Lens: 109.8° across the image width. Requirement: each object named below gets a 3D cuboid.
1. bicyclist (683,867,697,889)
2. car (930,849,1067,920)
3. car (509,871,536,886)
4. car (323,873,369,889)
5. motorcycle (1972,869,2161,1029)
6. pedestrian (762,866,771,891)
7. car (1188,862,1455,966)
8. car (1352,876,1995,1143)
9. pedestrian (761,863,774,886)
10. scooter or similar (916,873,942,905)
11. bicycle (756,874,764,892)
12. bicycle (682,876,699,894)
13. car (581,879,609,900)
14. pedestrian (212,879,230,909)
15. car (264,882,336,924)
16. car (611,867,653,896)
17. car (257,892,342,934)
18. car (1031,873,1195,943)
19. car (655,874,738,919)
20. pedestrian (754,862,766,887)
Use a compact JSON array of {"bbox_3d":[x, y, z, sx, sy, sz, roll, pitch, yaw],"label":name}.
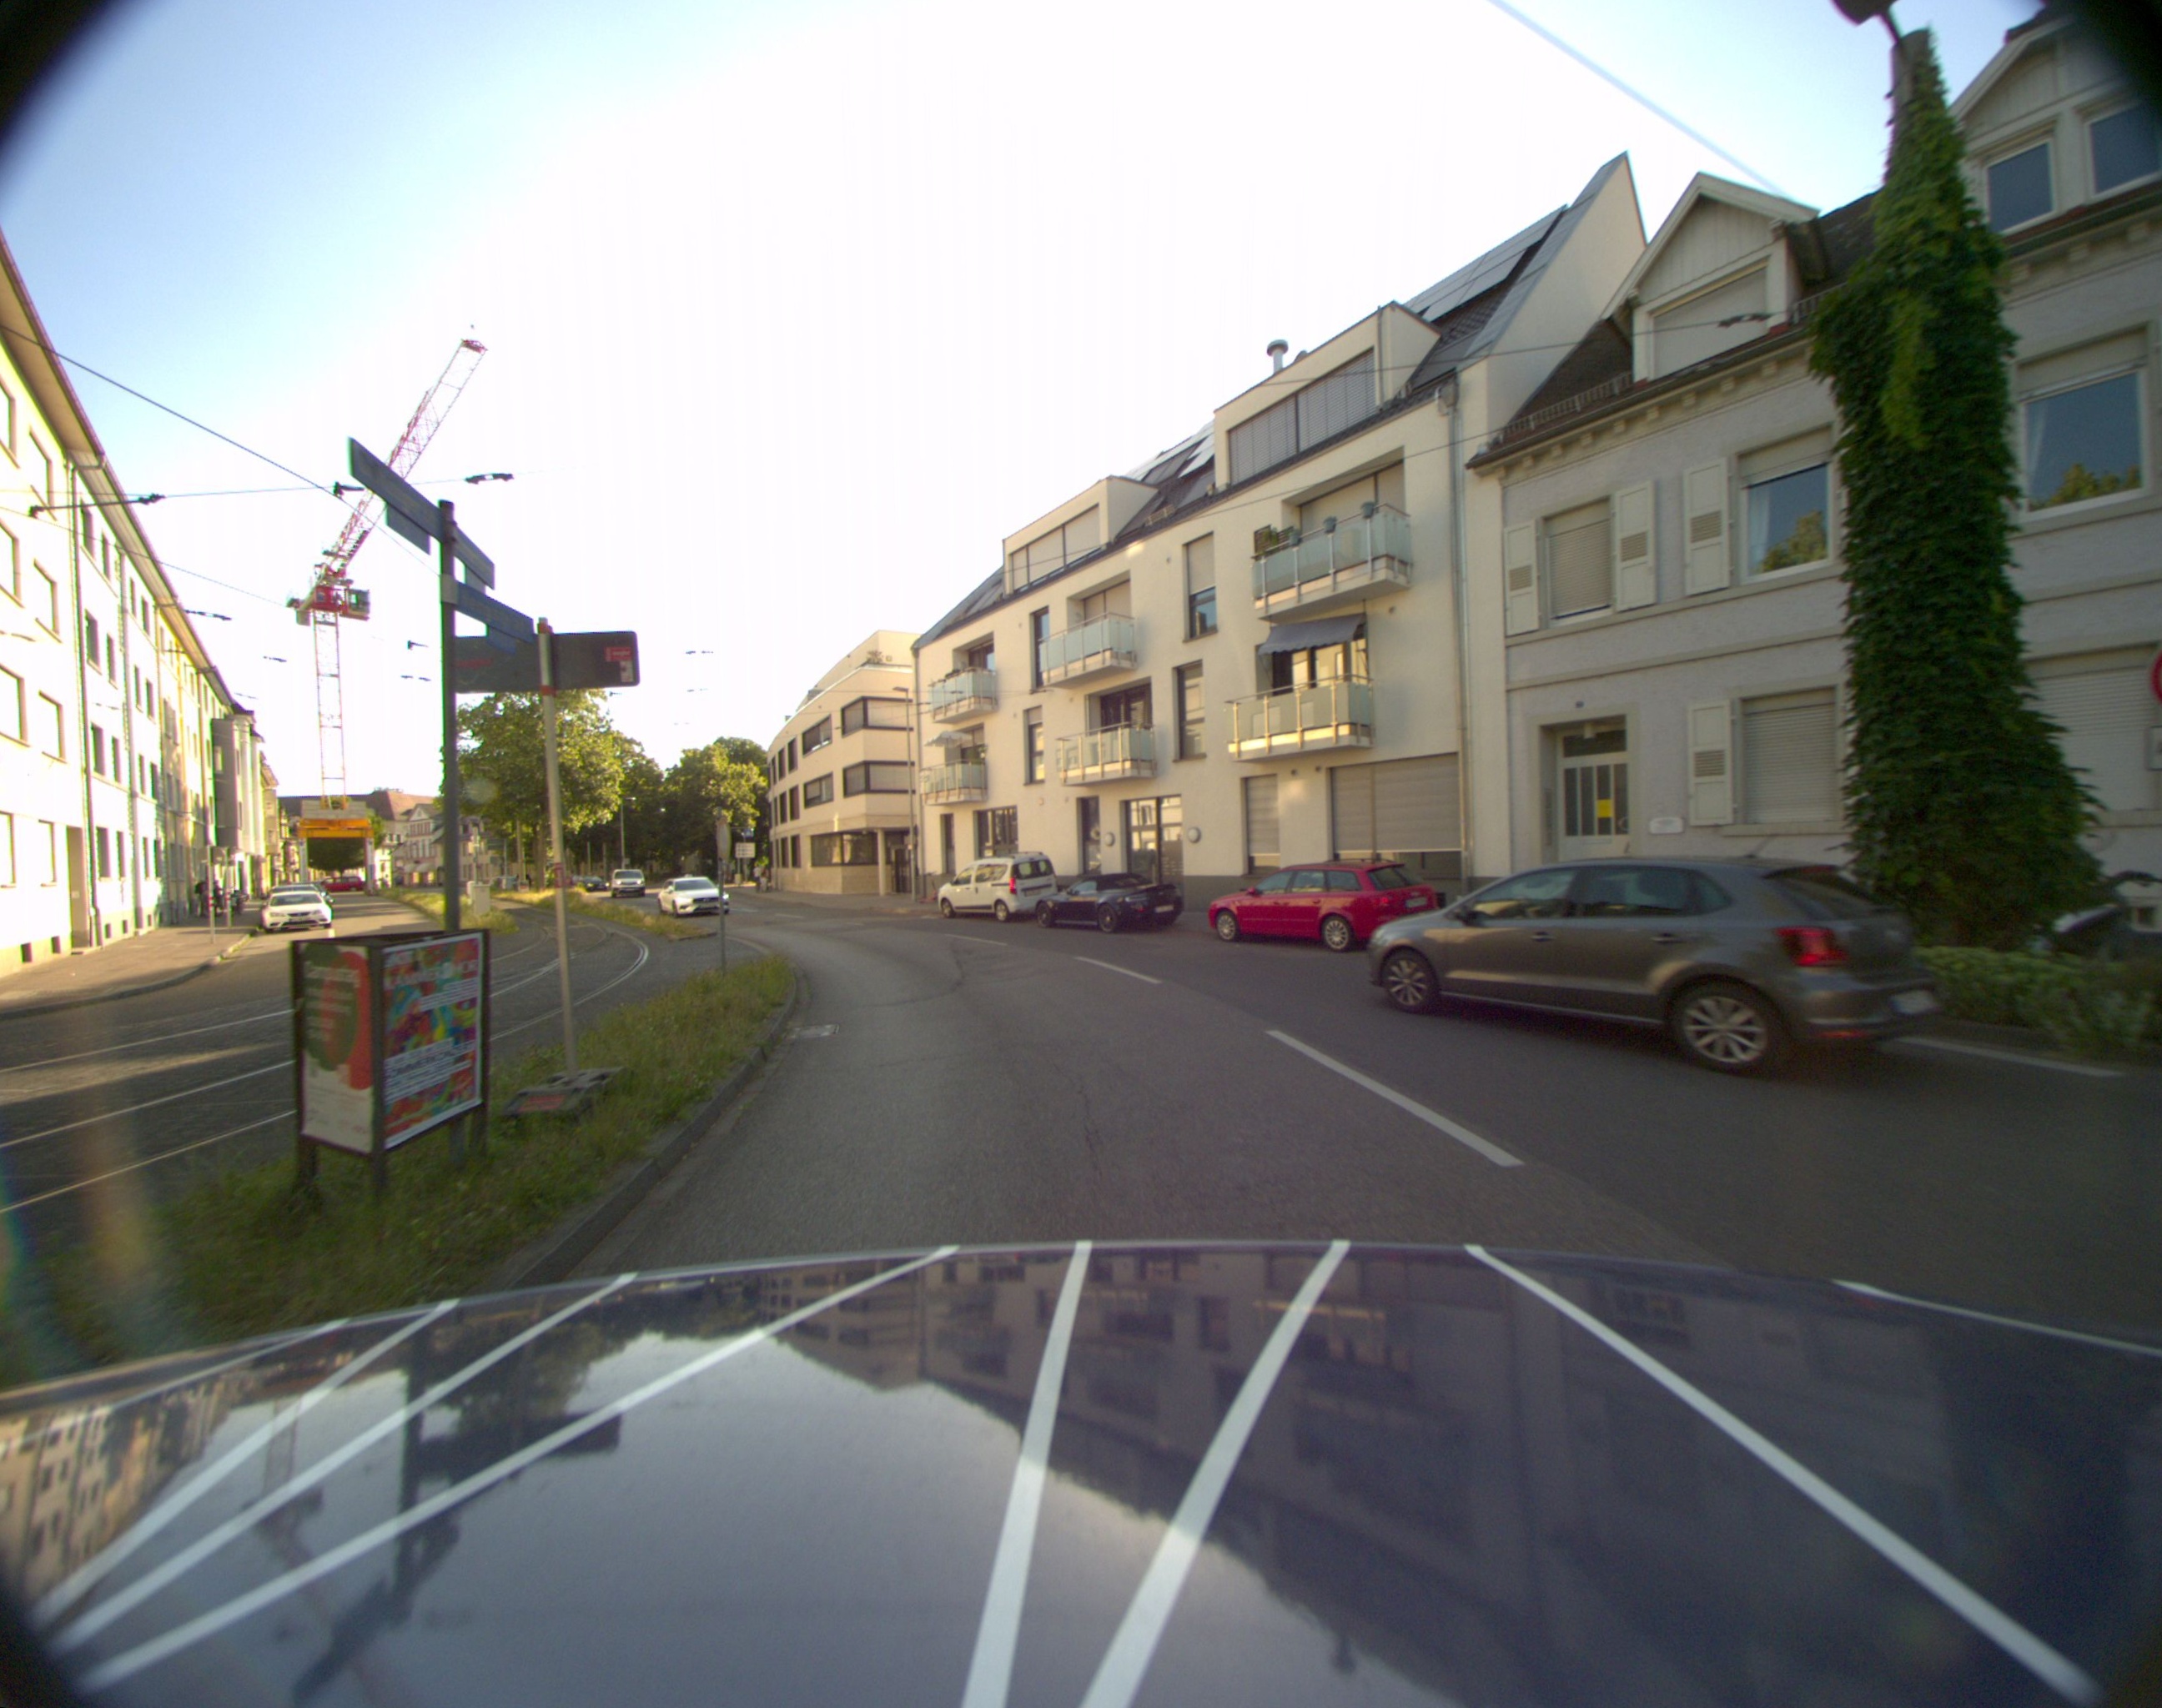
[{"bbox_3d":[-24.343,1.498,47.317,0.626,1.372,0.799,-1,1,-38],"label":"bicyclist"},{"bbox_3d":[-2.523,0.843,22.436,1.820,1.858,4.321,-2,1,-41],"label":"car"},{"bbox_3d":[-67.749,2.950,92.141,3.989,1.783,2.004,-1,2,45],"label":"car"},{"bbox_3d":[-92.928,3.375,96.082,1.994,1.910,4.080,-2,-1,42],"label":"car"},{"bbox_3d":[9.957,0.830,6.733,2.557,1.350,0.935,-1,2,40],"label":"motorcycle"},{"bbox_3d":[-21.183,1.625,51.194,0.476,1.638,0.601,-4,1,-22],"label":"pedestrian"},{"bbox_3d":[4.139,0.970,13.887,1.717,1.458,4.581,-4,1,-31],"label":"car"},{"bbox_3d":[4.245,0.900,6.158,1.720,1.395,3.731,0,-1,-25],"label":"car"},{"bbox_3d":[-23.744,1.513,57.585,0.705,1.704,0.841,-3,2,-32],"label":"pedestrian"},{"bbox_3d":[-5.907,1.365,29.464,1.152,1.213,0.225,-3,1,37],"label":"scooter or similar"},{"bbox_3d":[-21.664,1.970,51.202,0.442,1.171,1.963,-3,0,-23],"label":"bicycle"},{"bbox_3d":[-24.347,1.941,47.338,0.626,1.075,1.779,-1,0,-38],"label":"bicycle"},{"bbox_3d":[-42.077,3.058,65.706,1.719,1.607,3.990,-2,0,-36],"label":"car"},{"bbox_3d":[-42.520,1.982,37.557,0.526,1.432,0.460,-2,1,-45],"label":"pedestrian"},{"bbox_3d":[-33.489,2.036,32.603,4.628,1.563,2.004,-1,0,44],"label":"car"},{"bbox_3d":[-30.543,1.836,51.621,2.004,1.843,4.890,-1,-1,-35],"label":"car"},{"bbox_3d":[-29.772,2.169,28.894,4.434,1.378,2.004,-2,-1,41],"label":"car"},{"bbox_3d":[0.637,1.185,17.999,1.672,1.266,4.015,-5,2,-36],"label":"car"},{"bbox_3d":[-15.025,1.581,29.564,1.857,1.455,4.760,-5,3,-38],"label":"car"},{"bbox_3d":[-24.204,1.551,57.282,0.608,1.838,0.990,-3,2,-32],"label":"pedestrian"}]
